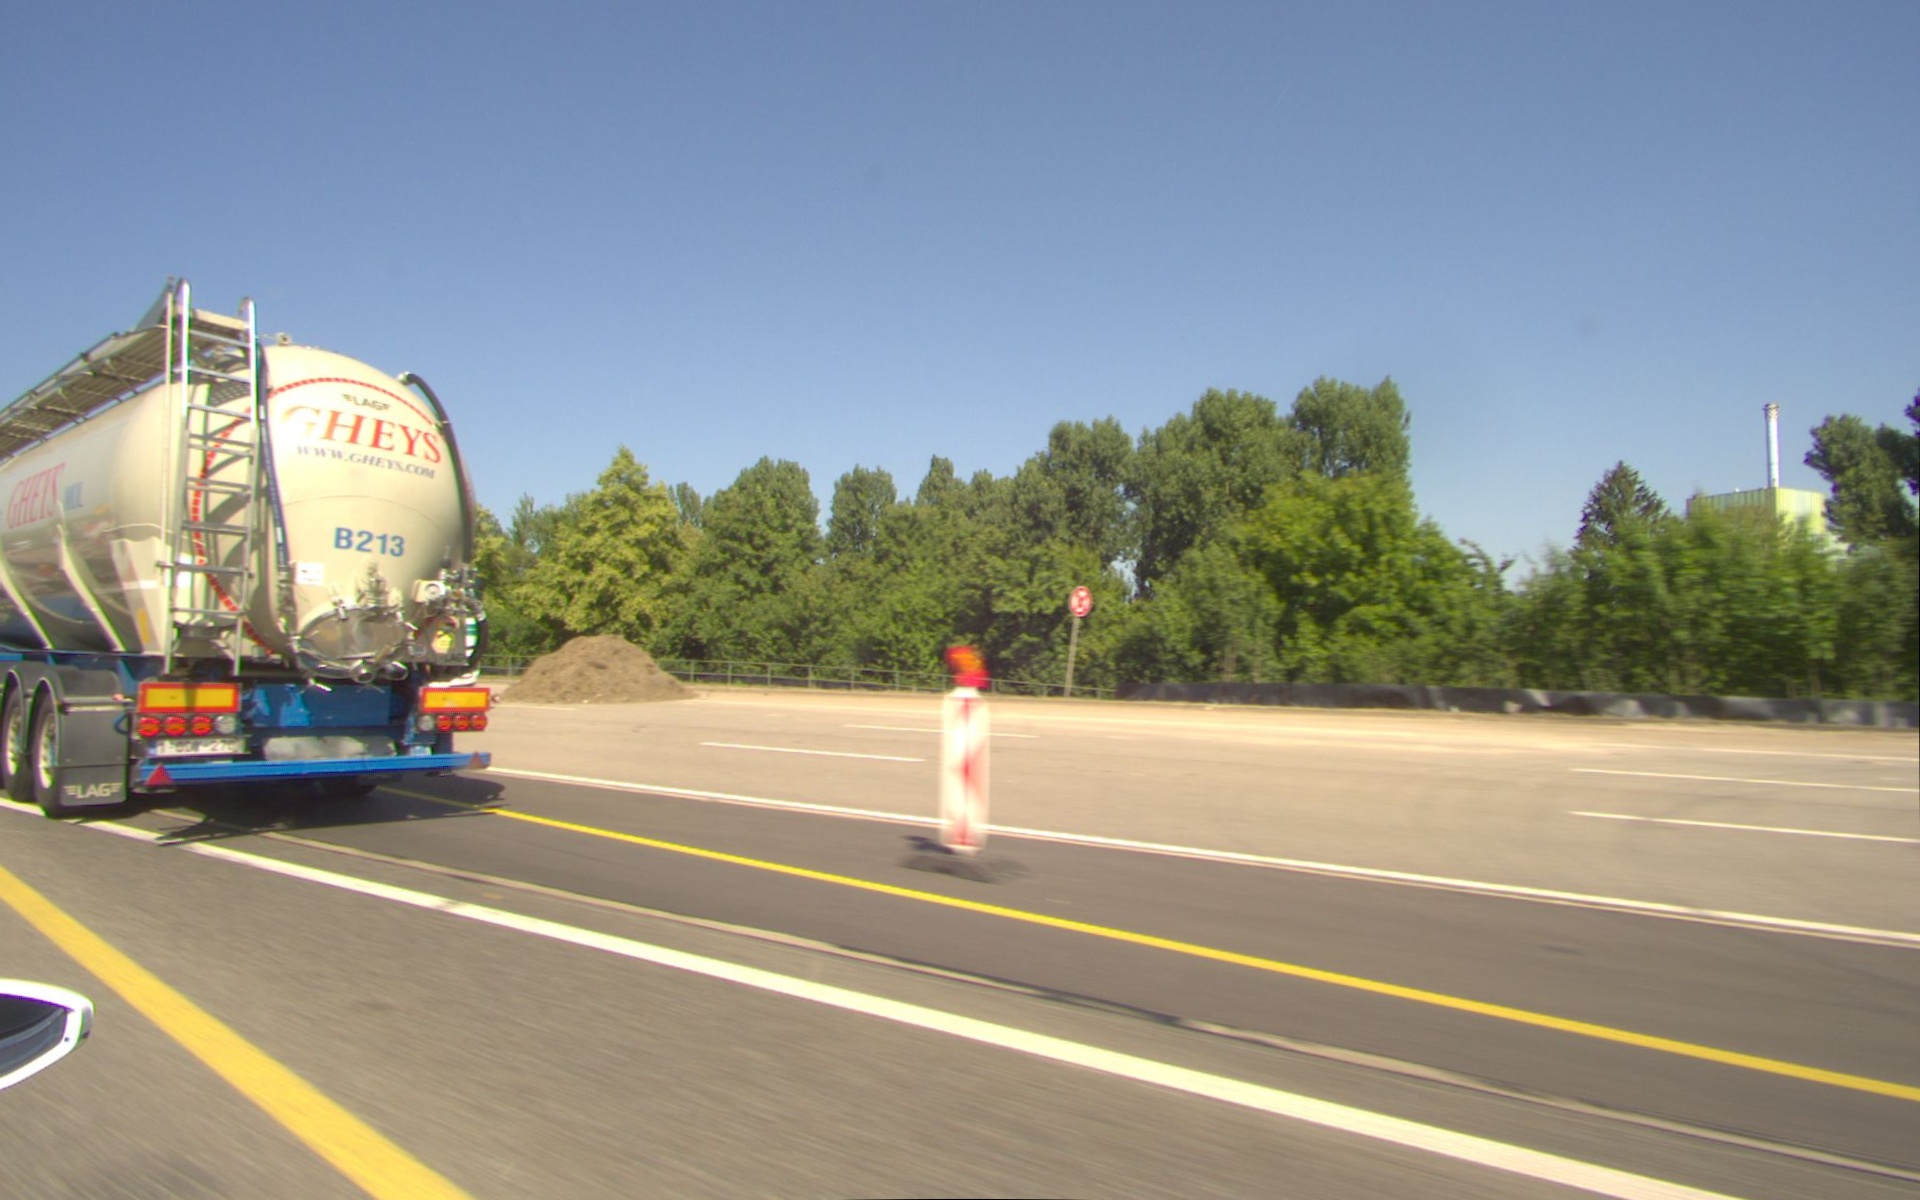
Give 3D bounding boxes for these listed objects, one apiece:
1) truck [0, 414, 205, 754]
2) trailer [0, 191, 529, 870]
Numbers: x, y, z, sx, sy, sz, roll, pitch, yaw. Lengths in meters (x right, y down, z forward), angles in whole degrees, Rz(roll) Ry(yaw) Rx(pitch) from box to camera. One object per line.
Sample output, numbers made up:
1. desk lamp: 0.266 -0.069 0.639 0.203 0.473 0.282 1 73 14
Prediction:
1. truck: -14.067 -0.091 15.043 7.212 4.155 2.684 -2 -2 39
2. trailer: -9.240 -0.254 11.154 12.462 4.190 2.684 -2 -2 39
